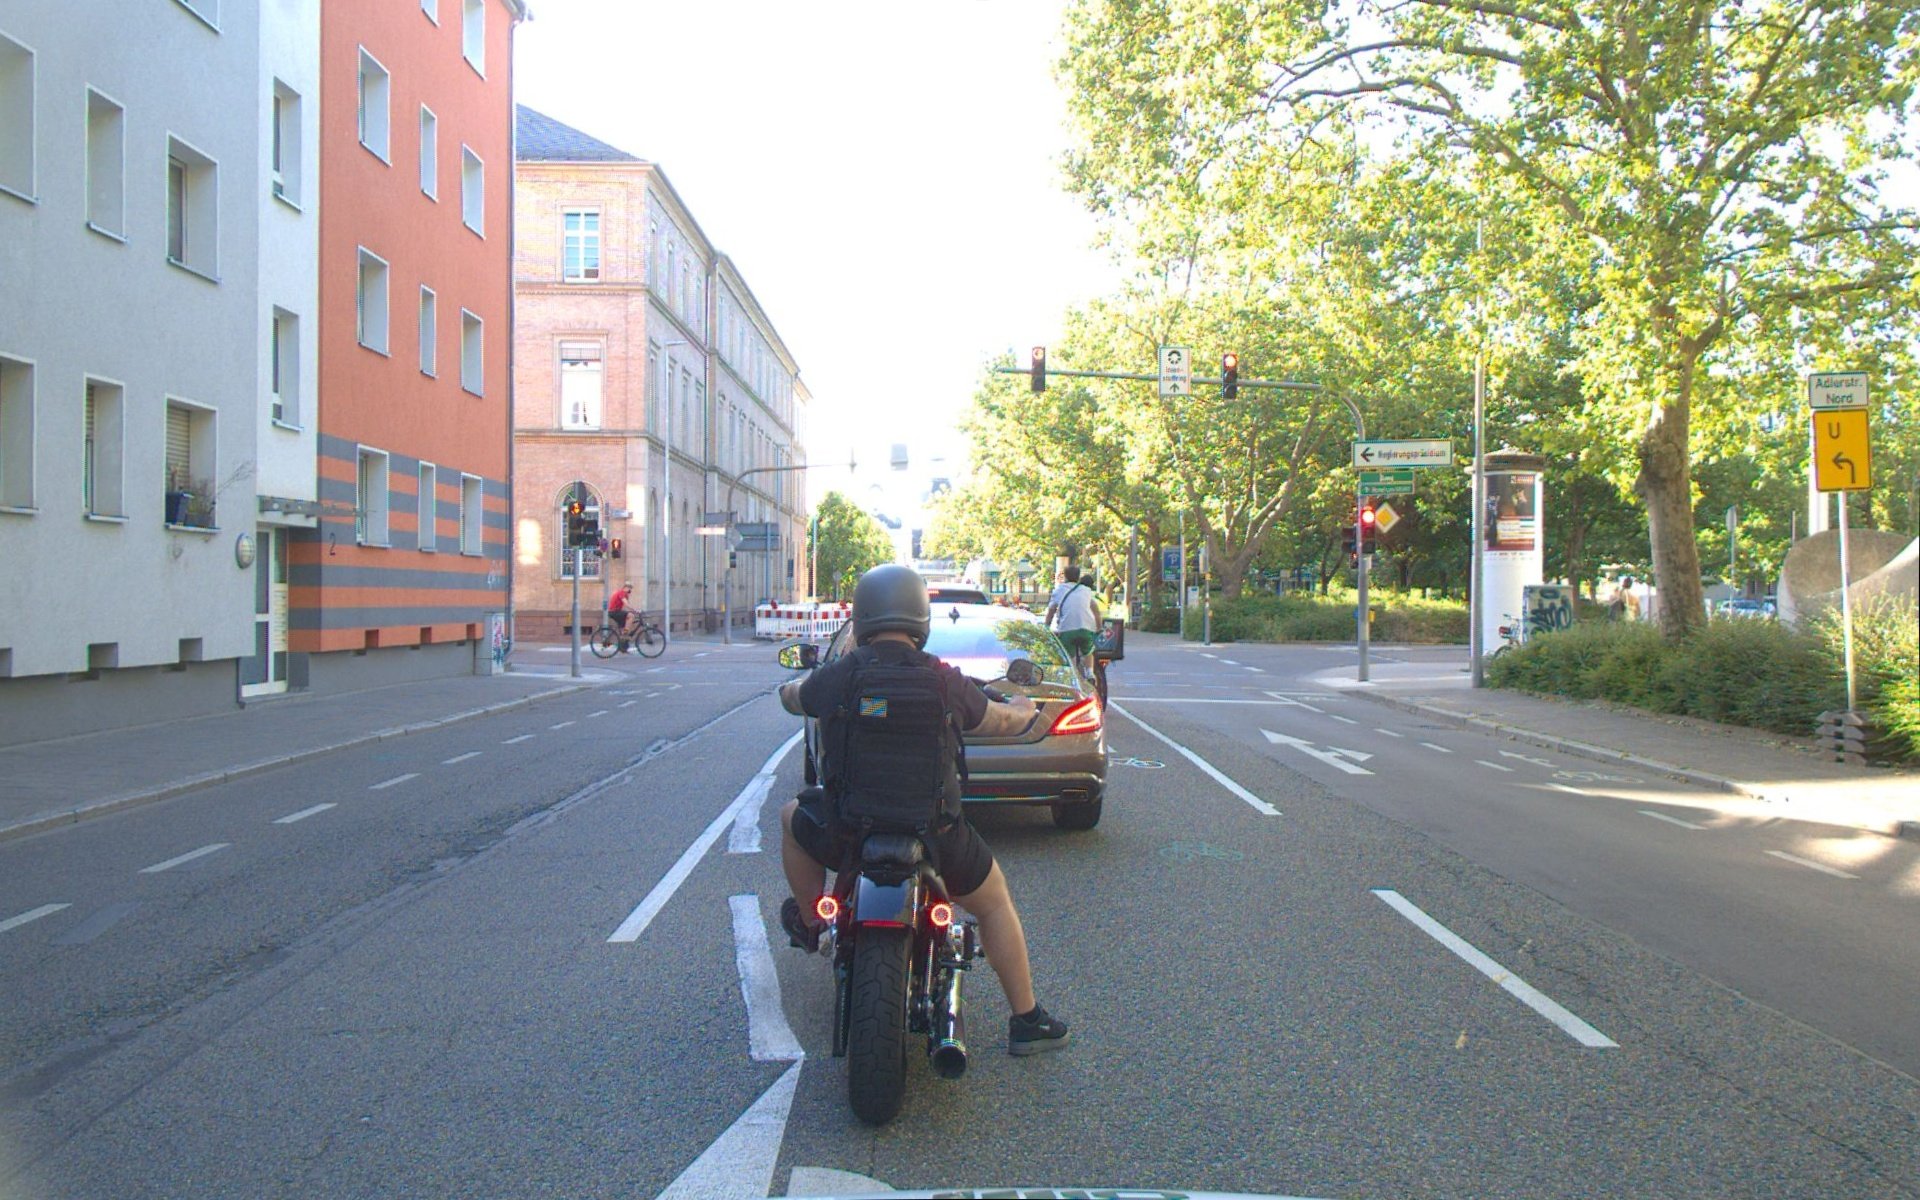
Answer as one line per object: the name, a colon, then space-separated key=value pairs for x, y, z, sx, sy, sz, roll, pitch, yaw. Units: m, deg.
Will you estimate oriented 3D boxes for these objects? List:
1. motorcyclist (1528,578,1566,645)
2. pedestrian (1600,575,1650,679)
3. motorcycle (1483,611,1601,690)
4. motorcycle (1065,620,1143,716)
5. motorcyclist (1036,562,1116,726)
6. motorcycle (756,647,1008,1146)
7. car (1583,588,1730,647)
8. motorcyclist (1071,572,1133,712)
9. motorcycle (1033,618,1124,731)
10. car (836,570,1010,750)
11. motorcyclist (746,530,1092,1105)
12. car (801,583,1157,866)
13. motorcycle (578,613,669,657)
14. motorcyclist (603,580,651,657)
motorcyclist: x=16.890 y=0.325 z=47.570 sx=0.962 sy=1.909 sz=0.376 roll=0 pitch=-1 yaw=3
pedestrian: x=12.082 y=0.481 z=30.040 sx=0.634 sy=1.859 sz=0.667 roll=0 pitch=0 yaw=-1
motorcycle: x=9.775 y=0.838 z=27.818 sx=1.743 sy=1.265 sz=0.723 roll=1 pitch=0 yaw=4
motorcycle: x=1.843 y=0.853 z=21.468 sx=0.781 sy=1.151 sz=2.236 roll=1 pitch=0 yaw=-1
motorcyclist: x=1.318 y=0.492 z=18.915 sx=0.814 sy=1.820 sz=0.913 roll=1 pitch=-1 yaw=-1
motorcycle: x=-0.220 y=0.814 z=5.411 sx=0.646 sy=1.261 sz=2.057 roll=1 pitch=0 yaw=-1
car: x=21.990 y=0.541 z=52.288 sx=3.907 sy=1.803 sz=1.737 roll=0 pitch=0 yaw=-3
motorcyclist: x=1.840 y=0.536 z=21.452 sx=0.702 sy=1.773 sz=0.751 roll=1 pitch=-1 yaw=-1
motorcycle: x=1.322 y=0.815 z=18.814 sx=0.845 sy=1.189 sz=1.929 roll=1 pitch=0 yaw=-1
car: x=-0.374 y=0.573 z=17.683 sx=1.618 sy=1.681 sz=3.999 roll=1 pitch=0 yaw=-1
motorcyclist: x=-0.125 y=0.628 z=5.321 sx=0.970 sy=1.639 sz=1.120 roll=1 pitch=0 yaw=-1
car: x=-0.087 y=0.684 z=11.120 sx=1.790 sy=1.512 sz=4.326 roll=1 pitch=0 yaw=-7
motorcycle: x=-7.780 y=0.812 z=38.306 sx=1.971 sy=0.979 sz=0.580 roll=1 pitch=0 yaw=0
motorcyclist: x=-7.712 y=0.435 z=38.309 sx=0.964 sy=1.753 sz=0.550 roll=1 pitch=-1 yaw=0
